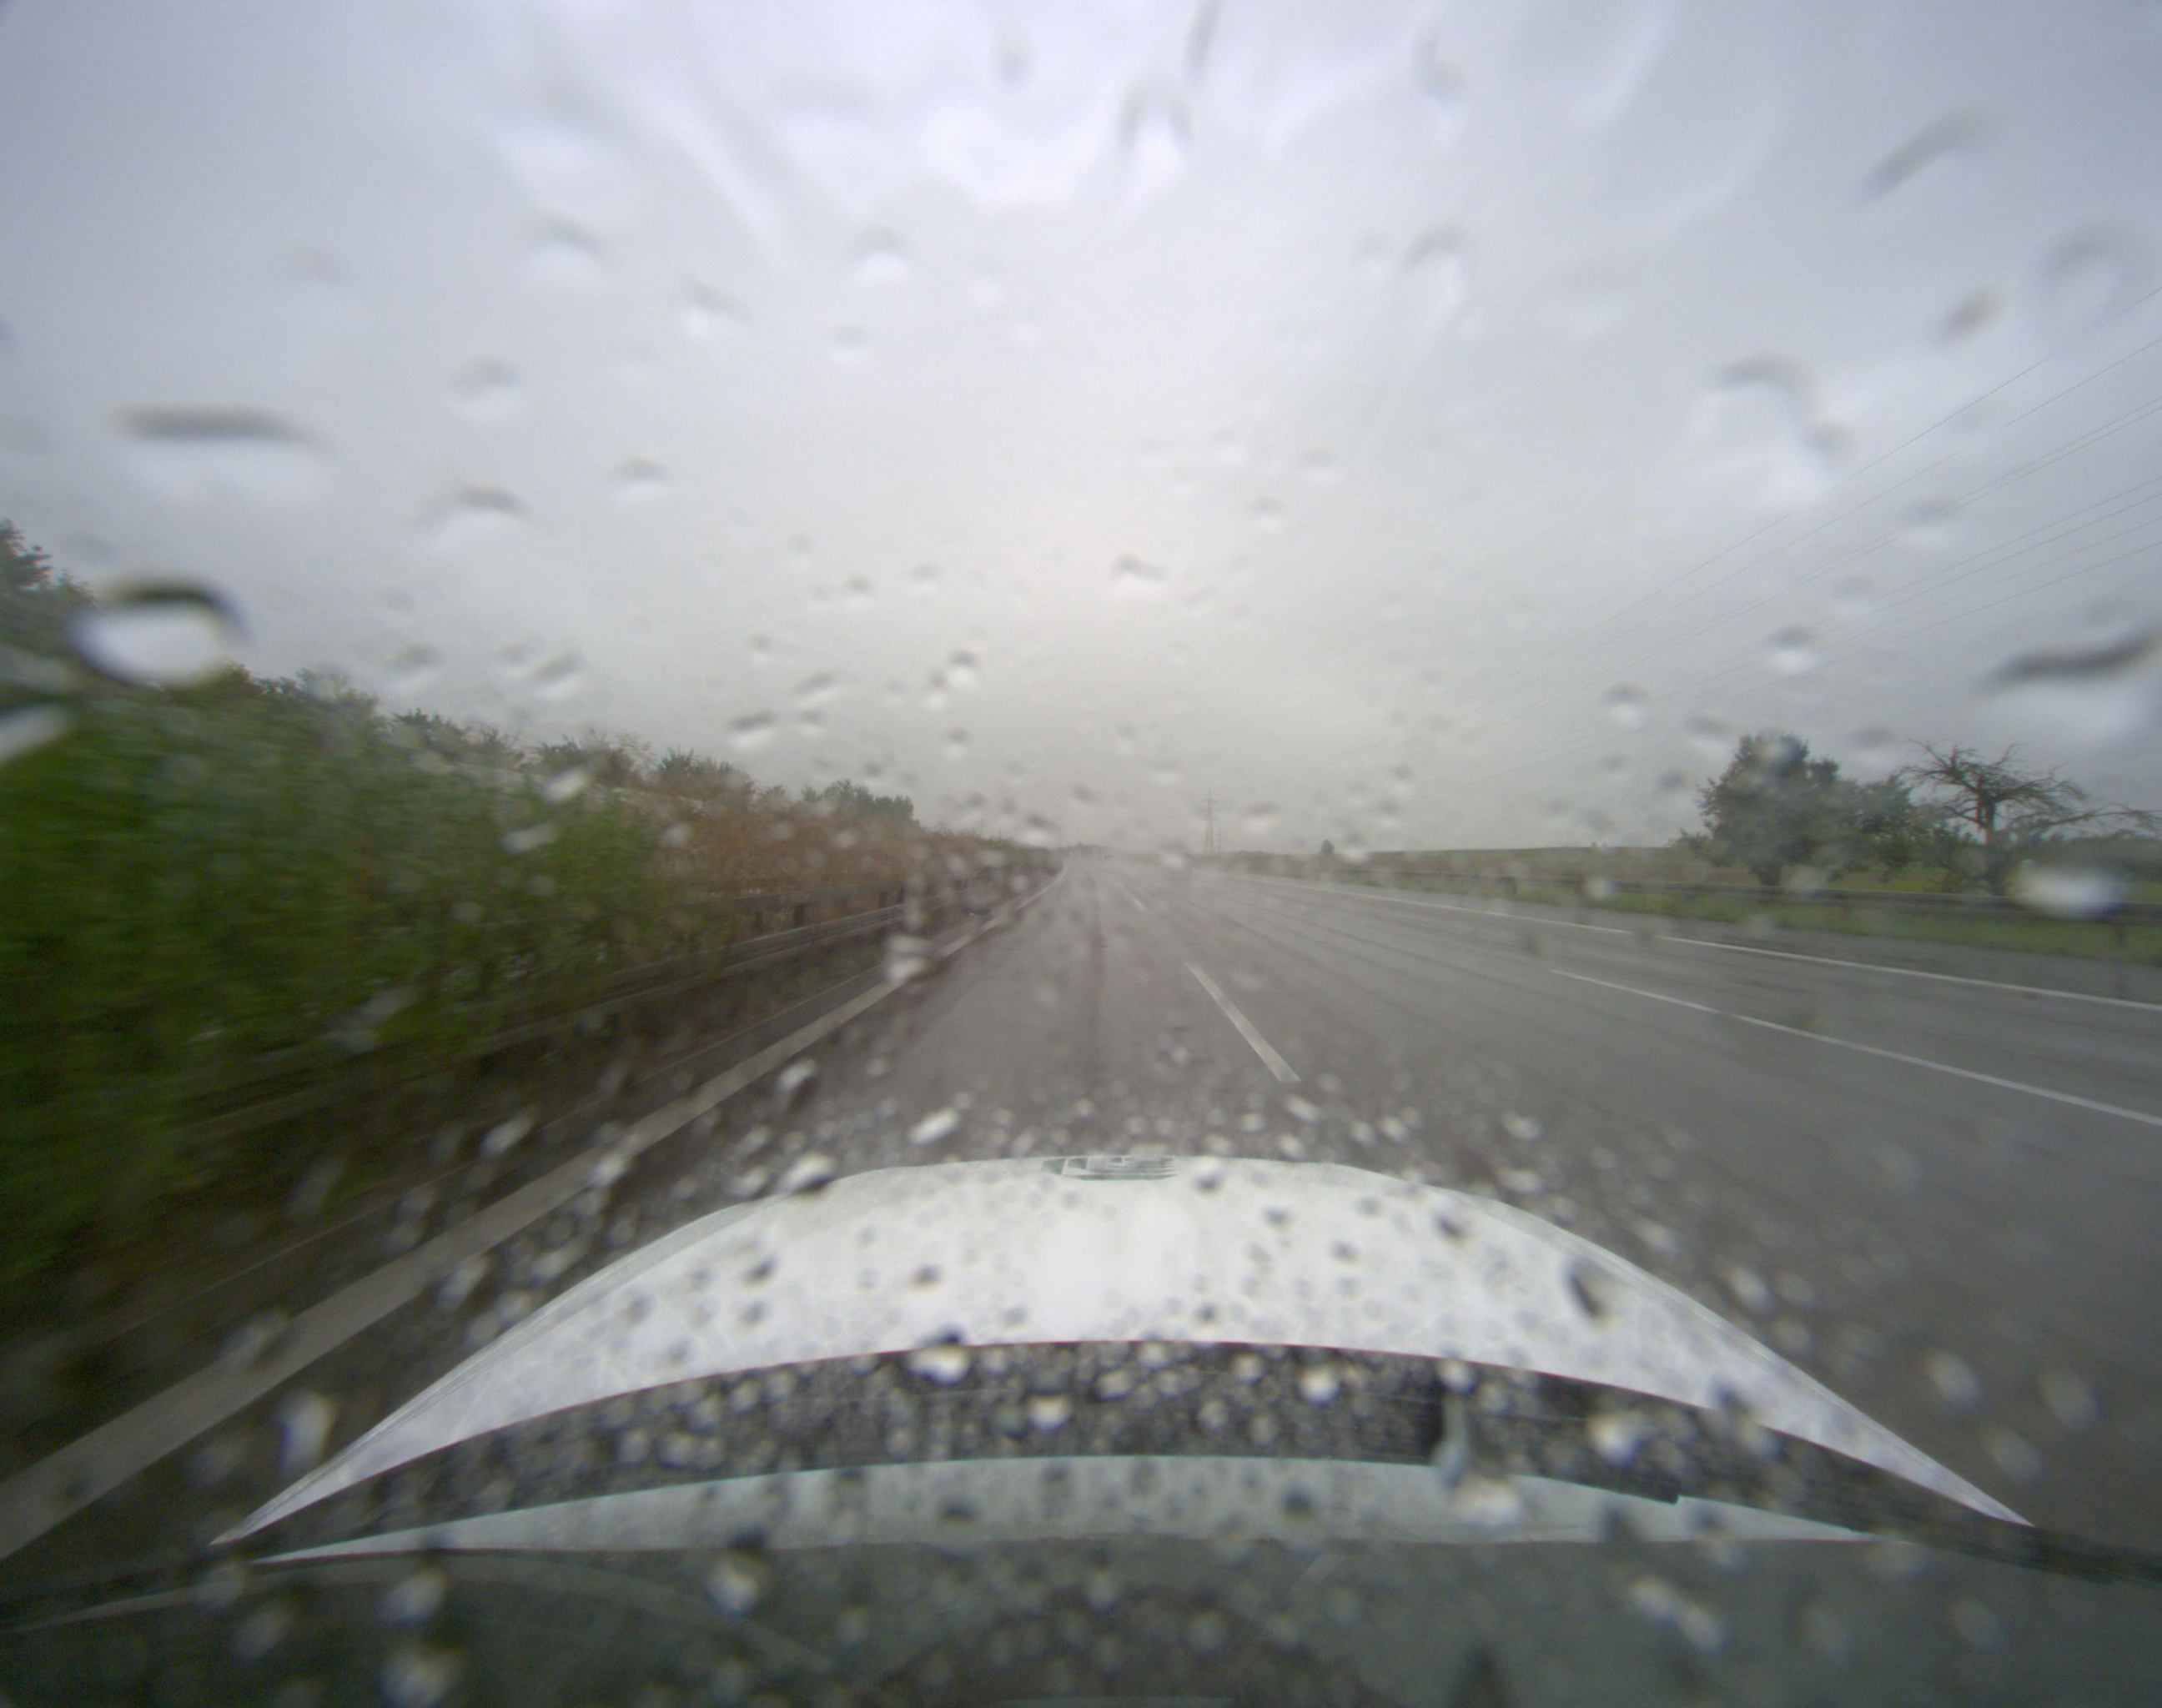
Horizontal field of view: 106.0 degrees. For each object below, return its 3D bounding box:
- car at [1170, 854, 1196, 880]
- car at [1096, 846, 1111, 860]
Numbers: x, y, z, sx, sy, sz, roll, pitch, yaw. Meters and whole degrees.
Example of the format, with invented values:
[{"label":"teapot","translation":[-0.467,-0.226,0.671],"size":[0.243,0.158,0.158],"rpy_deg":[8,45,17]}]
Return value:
[{"label":"car","translation":[8.629,1.083,69.087],"size":[1.801,2.158,4.000],"rpy_deg":[0,0,1]},{"label":"car","translation":[5.355,-0.272,193.423],"size":[3.191,3.193,7.253],"rpy_deg":[0,0,-1]}]
